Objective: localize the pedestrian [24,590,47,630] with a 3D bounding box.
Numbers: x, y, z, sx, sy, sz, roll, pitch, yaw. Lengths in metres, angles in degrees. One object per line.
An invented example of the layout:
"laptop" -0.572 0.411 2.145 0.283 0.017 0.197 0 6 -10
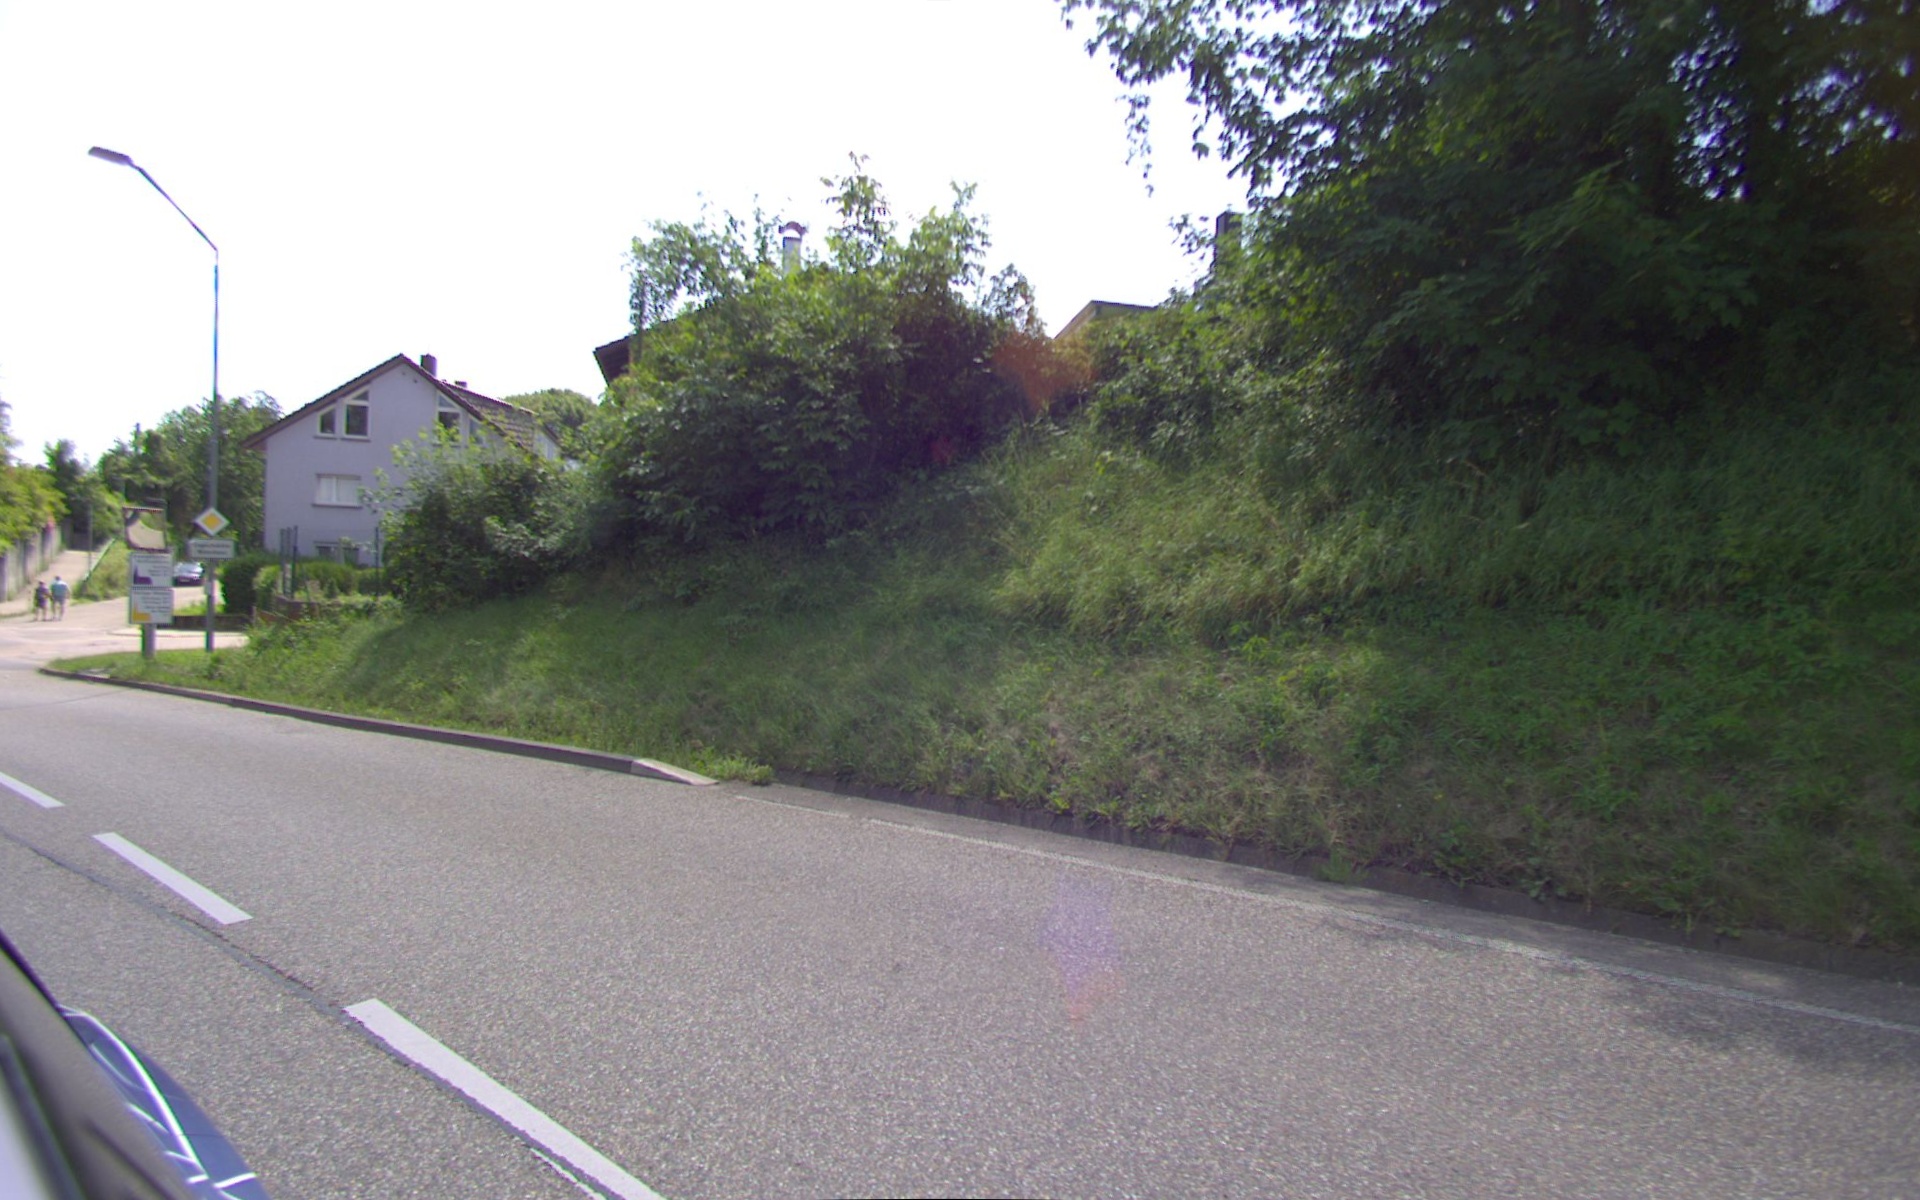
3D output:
"pedestrian" -36.960 0.381 40.485 0.565 1.566 0.600 -2 2 -36

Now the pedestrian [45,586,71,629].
"pedestrian" -36.678 0.299 41.160 0.676 1.725 0.791 -2 2 -36

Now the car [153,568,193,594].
"car" -52.682 -1.257 67.717 1.828 1.655 4.399 -2 1 -41
